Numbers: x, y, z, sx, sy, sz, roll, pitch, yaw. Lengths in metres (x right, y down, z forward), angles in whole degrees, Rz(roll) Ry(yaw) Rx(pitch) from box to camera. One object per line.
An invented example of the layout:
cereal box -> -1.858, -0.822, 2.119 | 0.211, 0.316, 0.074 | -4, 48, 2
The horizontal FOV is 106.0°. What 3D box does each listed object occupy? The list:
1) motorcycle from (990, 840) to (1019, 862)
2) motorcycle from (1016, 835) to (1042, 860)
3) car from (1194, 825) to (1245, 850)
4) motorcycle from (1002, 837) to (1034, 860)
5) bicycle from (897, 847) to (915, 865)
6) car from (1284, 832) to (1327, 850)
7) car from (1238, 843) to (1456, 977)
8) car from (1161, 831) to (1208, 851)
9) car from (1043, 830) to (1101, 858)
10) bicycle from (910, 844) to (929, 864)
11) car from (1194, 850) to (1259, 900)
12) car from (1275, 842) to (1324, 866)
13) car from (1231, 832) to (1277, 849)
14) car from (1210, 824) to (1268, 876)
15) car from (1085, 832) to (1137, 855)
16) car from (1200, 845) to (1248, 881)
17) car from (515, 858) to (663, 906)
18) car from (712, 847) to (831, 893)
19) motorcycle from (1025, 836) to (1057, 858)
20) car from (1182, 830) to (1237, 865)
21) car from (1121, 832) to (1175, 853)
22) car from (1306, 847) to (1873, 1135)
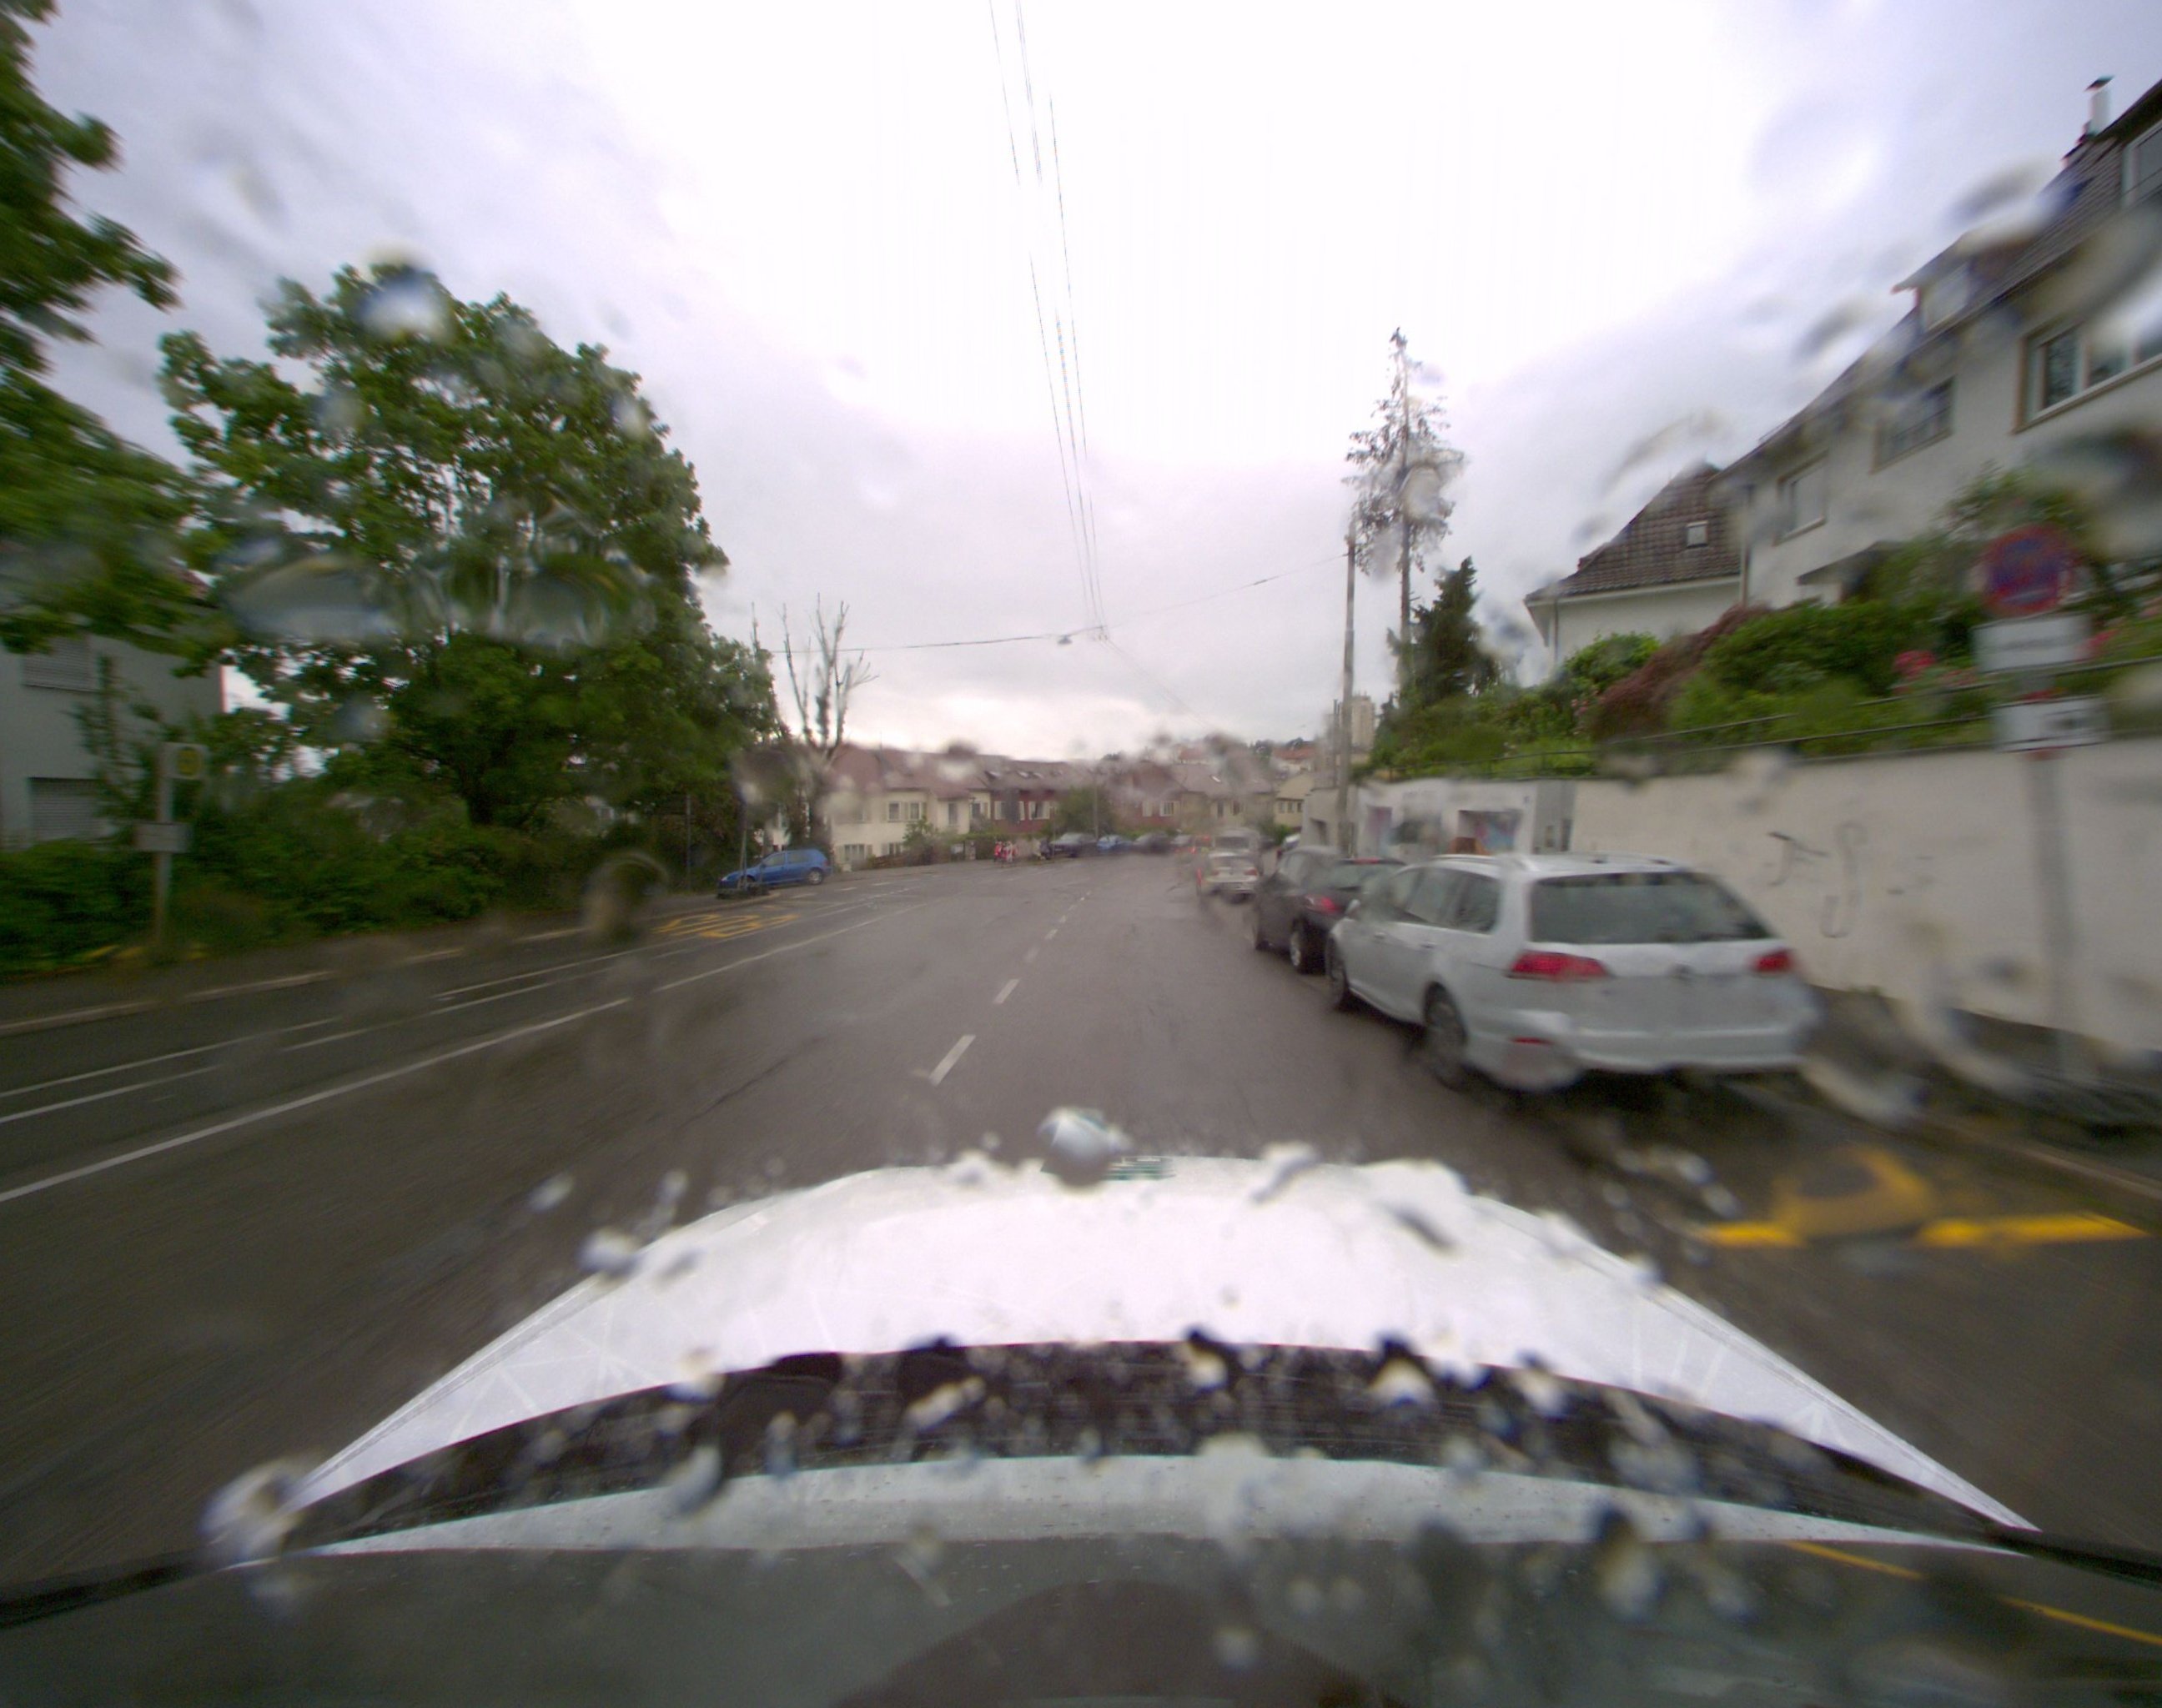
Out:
motorcycle -> -4.272, -0.191, 45.548 | 0.504, 1.139, 1.934 | 0, 2, 31
motorcycle -> -3.089, -0.387, 48.045 | 0.616, 1.303, 1.788 | 0, 4, -37
car -> 12.192, -1.424, 71.508 | 1.831, 2.078, 5.051 | 5, 4, 43
motorcycle -> -3.660, -0.319, 47.138 | 1.785, 1.279, 0.514 | 3, 3, 24
bicycle -> -10.263, 0.125, 47.709 | 1.311, 1.035, 0.307 | -4, -4, 43
car -> 22.405, -1.256, 81.226 | 4.703, 1.630, 1.913 | 0, 4, -42
car -> 3.447, 0.630, 11.364 | 1.708, 1.513, 3.999 | -1, 0, -1
car -> 8.545, -1.058, 66.912 | 1.791, 1.476, 4.551 | 5, 4, 37
car -> -0.538, -0.700, 53.243 | 1.904, 1.576, 4.414 | 4, 4, 26
bicycle -> -9.271, 0.003, 46.733 | 1.287, 1.035, 0.307 | -4, -4, 41
car -> 4.415, 0.603, 25.246 | 1.696, 1.414, 4.048 | 0, 0, 6
car -> 15.053, -0.037, 55.937 | 1.662, 1.483, 4.228 | 4, 3, 37
car -> 16.124, -1.262, 75.784 | 4.547, 1.476, 1.792 | 0, 4, -43
car -> 8.310, -0.243, 42.412 | 2.081, 2.542, 5.648 | 0, 1, 20
car -> 2.145, -0.797, 57.825 | 1.683, 1.404, 4.501 | 5, 4, 30
car -> 6.575, 0.375, 37.112 | 1.740, 1.495, 4.201 | 0, 1, 15
car -> -17.135, 0.940, 28.584 | 4.076, 1.494, 1.832 | -1, 0, -16
car -> -11.836, 0.585, 31.209 | 3.957, 1.666, 1.823 | 1, -1, -34
motorcycle -> -2.426, -0.431, 49.429 | 1.898, 1.271, 0.574 | 2, 3, -7
car -> 8.155, -0.459, 51.207 | 2.289, 1.938, 4.350 | 5, 4, 23
car -> 5.162, -0.923, 62.399 | 1.791, 1.476, 4.551 | 5, 4, 40
car -> 3.164, 0.690, 6.318 | 1.774, 1.420, 4.433 | -1, 0, 3
